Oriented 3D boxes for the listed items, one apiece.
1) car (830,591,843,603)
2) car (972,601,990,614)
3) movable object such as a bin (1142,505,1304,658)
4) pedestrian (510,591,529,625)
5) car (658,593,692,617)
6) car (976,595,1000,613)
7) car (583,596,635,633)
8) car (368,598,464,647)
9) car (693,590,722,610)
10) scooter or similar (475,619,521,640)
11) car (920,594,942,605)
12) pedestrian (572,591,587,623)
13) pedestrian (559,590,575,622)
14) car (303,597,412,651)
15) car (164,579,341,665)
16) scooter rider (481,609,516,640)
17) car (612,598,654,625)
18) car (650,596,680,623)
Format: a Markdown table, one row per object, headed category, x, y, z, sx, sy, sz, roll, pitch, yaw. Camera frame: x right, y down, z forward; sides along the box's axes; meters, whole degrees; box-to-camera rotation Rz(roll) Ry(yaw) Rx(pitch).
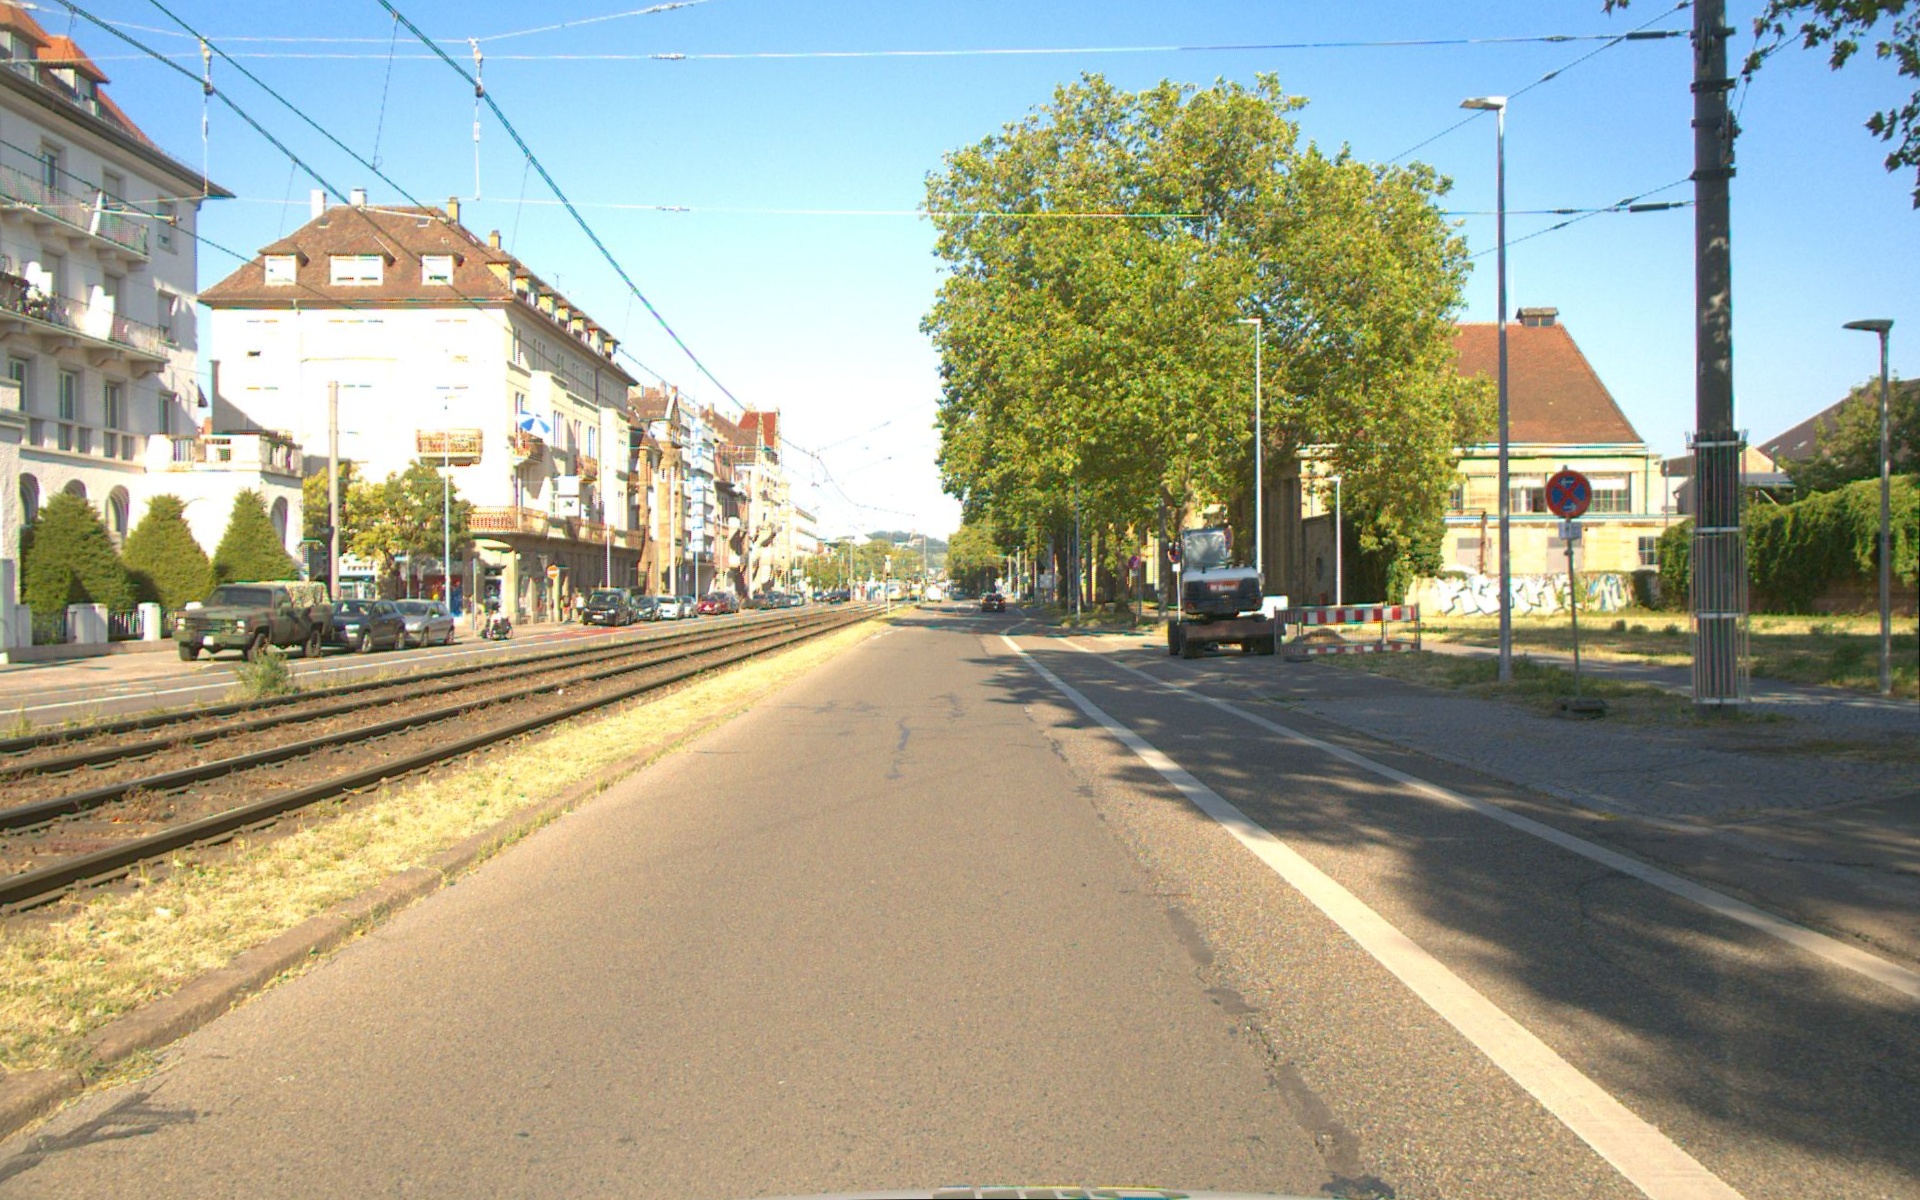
| category | x | y | z | sx | sy | sz | roll | pitch | yaw |
| --- | --- | --- | --- | --- | --- | --- | --- | --- | --- |
| car | -16.499 | -0.392 | 220.830 | 1.602 | 1.629 | 4.157 | -2 | 0 | -2 |
| car | 2.322 | 0.795 | 183.232 | 1.796 | 1.415 | 4.158 | 0 | 0 | -1 |
| movable object such as a bin | 6.241 | -0.445 | 40.295 | 2.688 | 3.200 | 7.220 | -4 | 0 | 1 |
| pedestrian | -22.768 | 0.419 | 85.520 | 0.626 | 1.690 | 0.955 | 1 | -1 | 1 |
| car | -19.266 | 0.319 | 111.938 | 1.602 | 1.494 | 4.159 | 1 | 1 | 0 |
| car | 2.215 | 0.284 | 131.340 | 1.796 | 1.415 | 4.158 | 0 | 0 | -1 |
| car | -18.312 | 0.743 | 86.435 | 1.825 | 1.817 | 4.400 | 1 | 1 | -1 |
| car | -18.021 | 0.734 | 54.962 | 1.757 | 1.537 | 4.000 | 1 | 0 | 1 |
| car | -18.965 | -0.003 | 124.239 | 1.798 | 1.415 | 4.031 | 3 | 0 | -5 |
| scooter or similar | -17.305 | 1.107 | 61.974 | 1.535 | 0.784 | 0.806 | -1 | 0 | 31 |
| car | -3.997 | -0.072 | 226.506 | 1.768 | 1.537 | 3.975 | 2 | -1 | -21 |
| pedestrian | -20.737 | 0.367 | 90.156 | 0.577 | 1.726 | 0.857 | 1 | -1 | 1 |
| pedestrian | -21.428 | 0.350 | 90.140 | 0.577 | 1.726 | 0.857 | 1 | -1 | 1 |
| car | -17.904 | 0.712 | 49.327 | 1.601 | 1.534 | 4.159 | 1 | -1 | 1 |
| car | -18.242 | 0.528 | 43.008 | 2.034 | 2.045 | 5.593 | 1 | 0 | 1 |
| scooter rider | -17.273 | 0.910 | 61.956 | 0.958 | 1.108 | 0.806 | -1 | 0 | 31 |
| car | -19.149 | 0.646 | 96.991 | 1.602 | 1.494 | 4.158 | 3 | 0 | -1 |
| car | -18.334 | 0.602 | 102.881 | 1.604 | 1.494 | 3.976 | -2 | -1 | -7 |
